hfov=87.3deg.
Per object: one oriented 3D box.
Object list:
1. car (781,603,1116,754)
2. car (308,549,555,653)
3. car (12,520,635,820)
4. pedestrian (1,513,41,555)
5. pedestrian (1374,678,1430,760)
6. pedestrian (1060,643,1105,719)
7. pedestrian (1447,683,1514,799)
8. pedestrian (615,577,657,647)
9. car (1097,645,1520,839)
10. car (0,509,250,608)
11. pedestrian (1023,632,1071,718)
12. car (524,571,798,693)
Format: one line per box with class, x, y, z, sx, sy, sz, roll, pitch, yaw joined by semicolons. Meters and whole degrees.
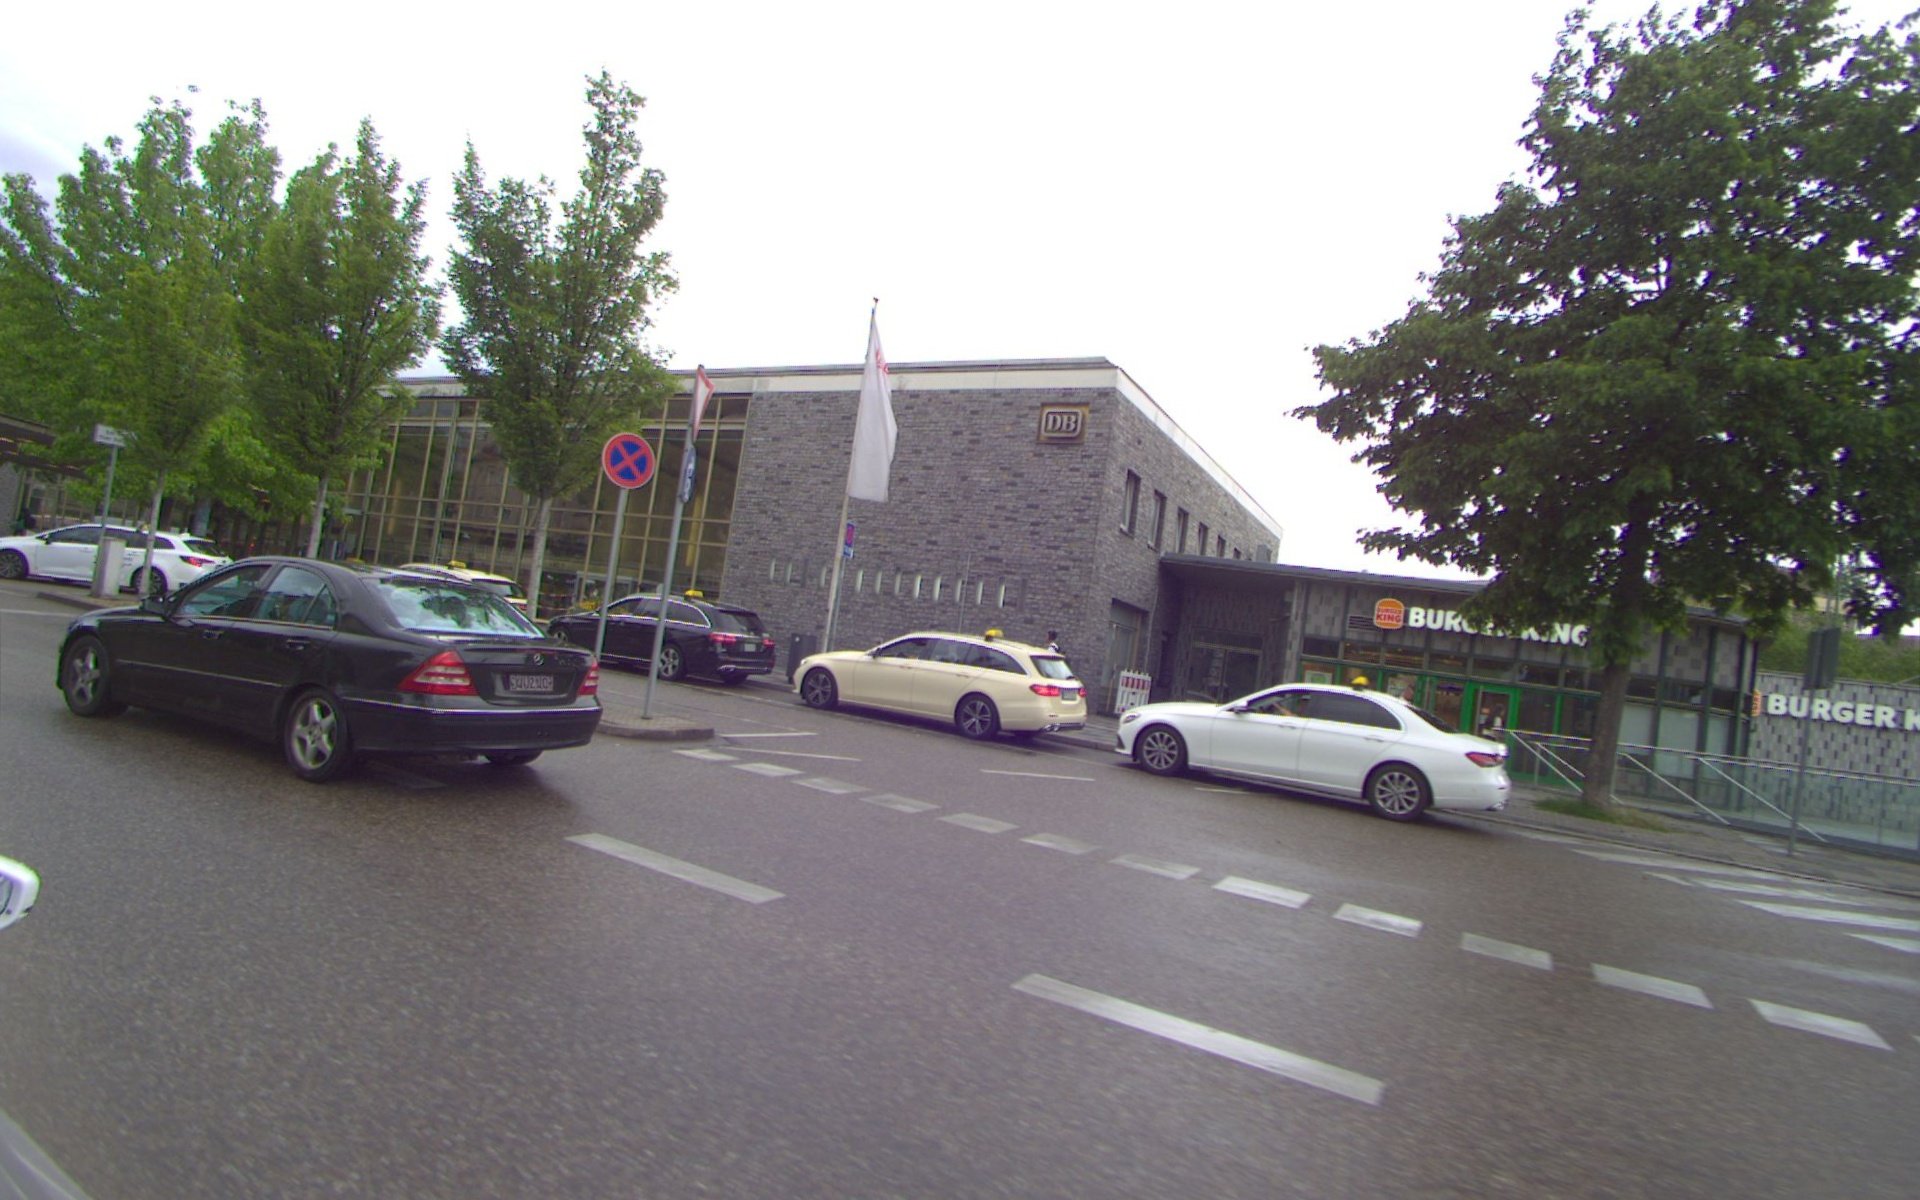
car;-0.252;1.170;15.964;4.875;1.619;1.997;6;-1;31
car;-11.486;0.020;21.842;4.868;1.619;2.000;7;-1;23
car;-4.780;0.393;7.500;4.372;1.483;1.699;6;-1;24
pedestrian;-38.734;-2.719;41.500;0.799;1.577;0.867;6;0;24
pedestrian;9.323;2.496;21.247;0.697;1.599;0.771;6;0;1
pedestrian;2.597;1.716;21.447;0.709;1.495;0.797;6;0;0
pedestrian;10.532;2.827;20.368;0.709;2.190;0.797;6;0;0
pedestrian;-8.116;0.299;25.196;0.785;1.646;0.721;6;0;-14
car;4.458;1.697;13.120;4.821;1.618;1.883;6;-1;31
car;-18.771;-0.905;22.157;4.696;1.563;1.762;7;-2;-9
pedestrian;1.820;1.559;20.994;0.762;1.687;0.647;7;-1;9
car;-5.706;0.584;19.041;4.874;1.617;1.999;6;-3;30
